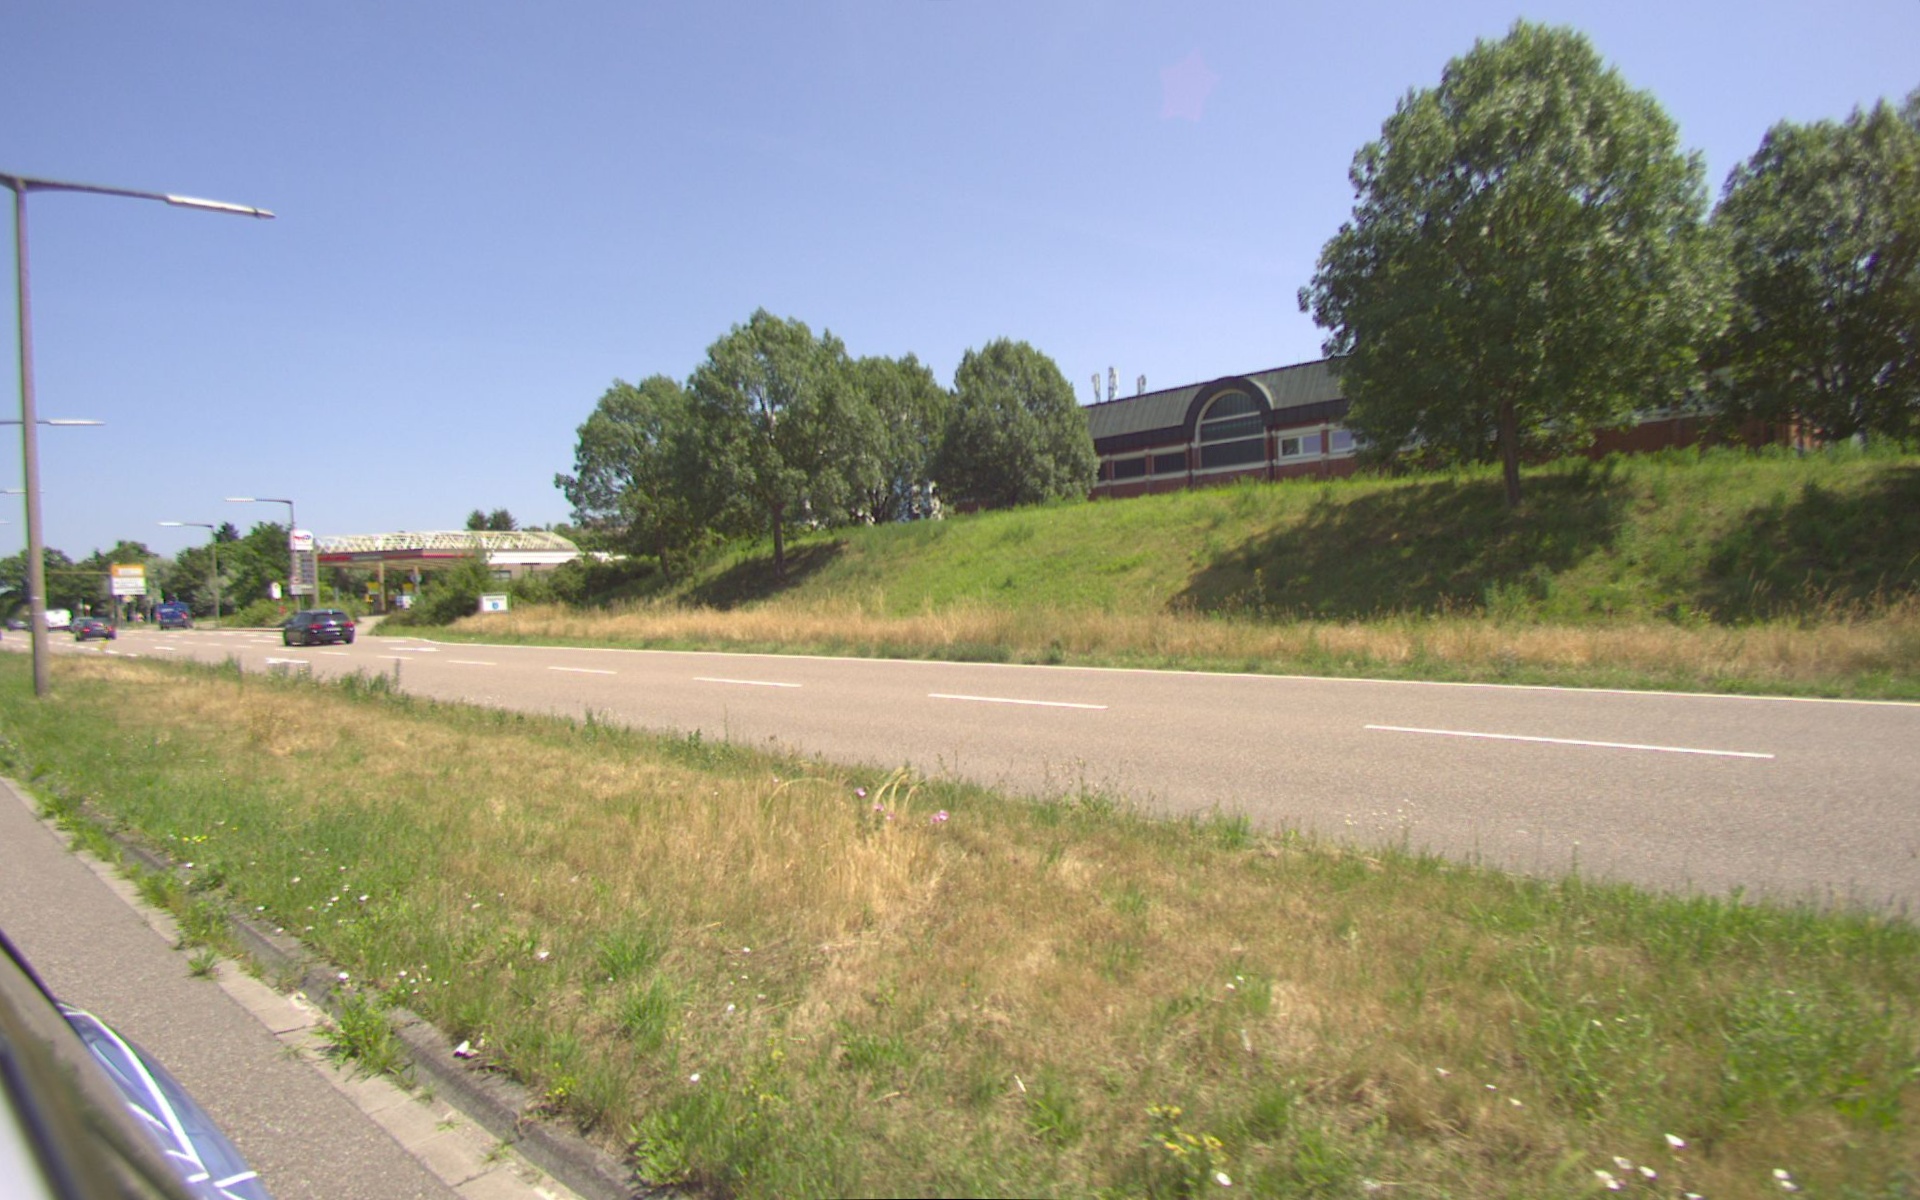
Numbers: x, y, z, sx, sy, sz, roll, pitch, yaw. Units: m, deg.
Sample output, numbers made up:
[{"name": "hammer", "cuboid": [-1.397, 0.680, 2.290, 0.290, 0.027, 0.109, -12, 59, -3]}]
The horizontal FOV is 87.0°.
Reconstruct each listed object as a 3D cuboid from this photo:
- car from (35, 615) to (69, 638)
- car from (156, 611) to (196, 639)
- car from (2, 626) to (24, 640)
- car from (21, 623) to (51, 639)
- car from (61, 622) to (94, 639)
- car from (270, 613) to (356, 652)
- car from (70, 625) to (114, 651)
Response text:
[{"name": "car", "cuboid": [-97.545, 2.871, 108.740, 5.450, 2.289, 2.225, -1, 2, 44]}, {"name": "car", "cuboid": [-72.899, 2.295, 94.138, 2.144, 2.429, 5.688, -3, 1, -30]}, {"name": "car", "cuboid": [-125.305, 4.377, 133.853, 3.998, 1.550, 1.642, -2, 4, 41]}, {"name": "car", "cuboid": [-108.712, 3.601, 119.028, 5.018, 1.763, 1.945, -1, 1, 40]}, {"name": "car", "cuboid": [-83.957, 2.905, 96.259, 4.850, 1.460, 1.811, -2, 1, 42]}, {"name": "car", "cuboid": [-26.484, 1.312, 41.337, 1.971, 1.370, 4.668, -4, 1, -45]}, {"name": "car", "cuboid": [-55.984, 2.439, 65.270, 4.000, 1.503, 1.674, -2, 1, 43]}]
